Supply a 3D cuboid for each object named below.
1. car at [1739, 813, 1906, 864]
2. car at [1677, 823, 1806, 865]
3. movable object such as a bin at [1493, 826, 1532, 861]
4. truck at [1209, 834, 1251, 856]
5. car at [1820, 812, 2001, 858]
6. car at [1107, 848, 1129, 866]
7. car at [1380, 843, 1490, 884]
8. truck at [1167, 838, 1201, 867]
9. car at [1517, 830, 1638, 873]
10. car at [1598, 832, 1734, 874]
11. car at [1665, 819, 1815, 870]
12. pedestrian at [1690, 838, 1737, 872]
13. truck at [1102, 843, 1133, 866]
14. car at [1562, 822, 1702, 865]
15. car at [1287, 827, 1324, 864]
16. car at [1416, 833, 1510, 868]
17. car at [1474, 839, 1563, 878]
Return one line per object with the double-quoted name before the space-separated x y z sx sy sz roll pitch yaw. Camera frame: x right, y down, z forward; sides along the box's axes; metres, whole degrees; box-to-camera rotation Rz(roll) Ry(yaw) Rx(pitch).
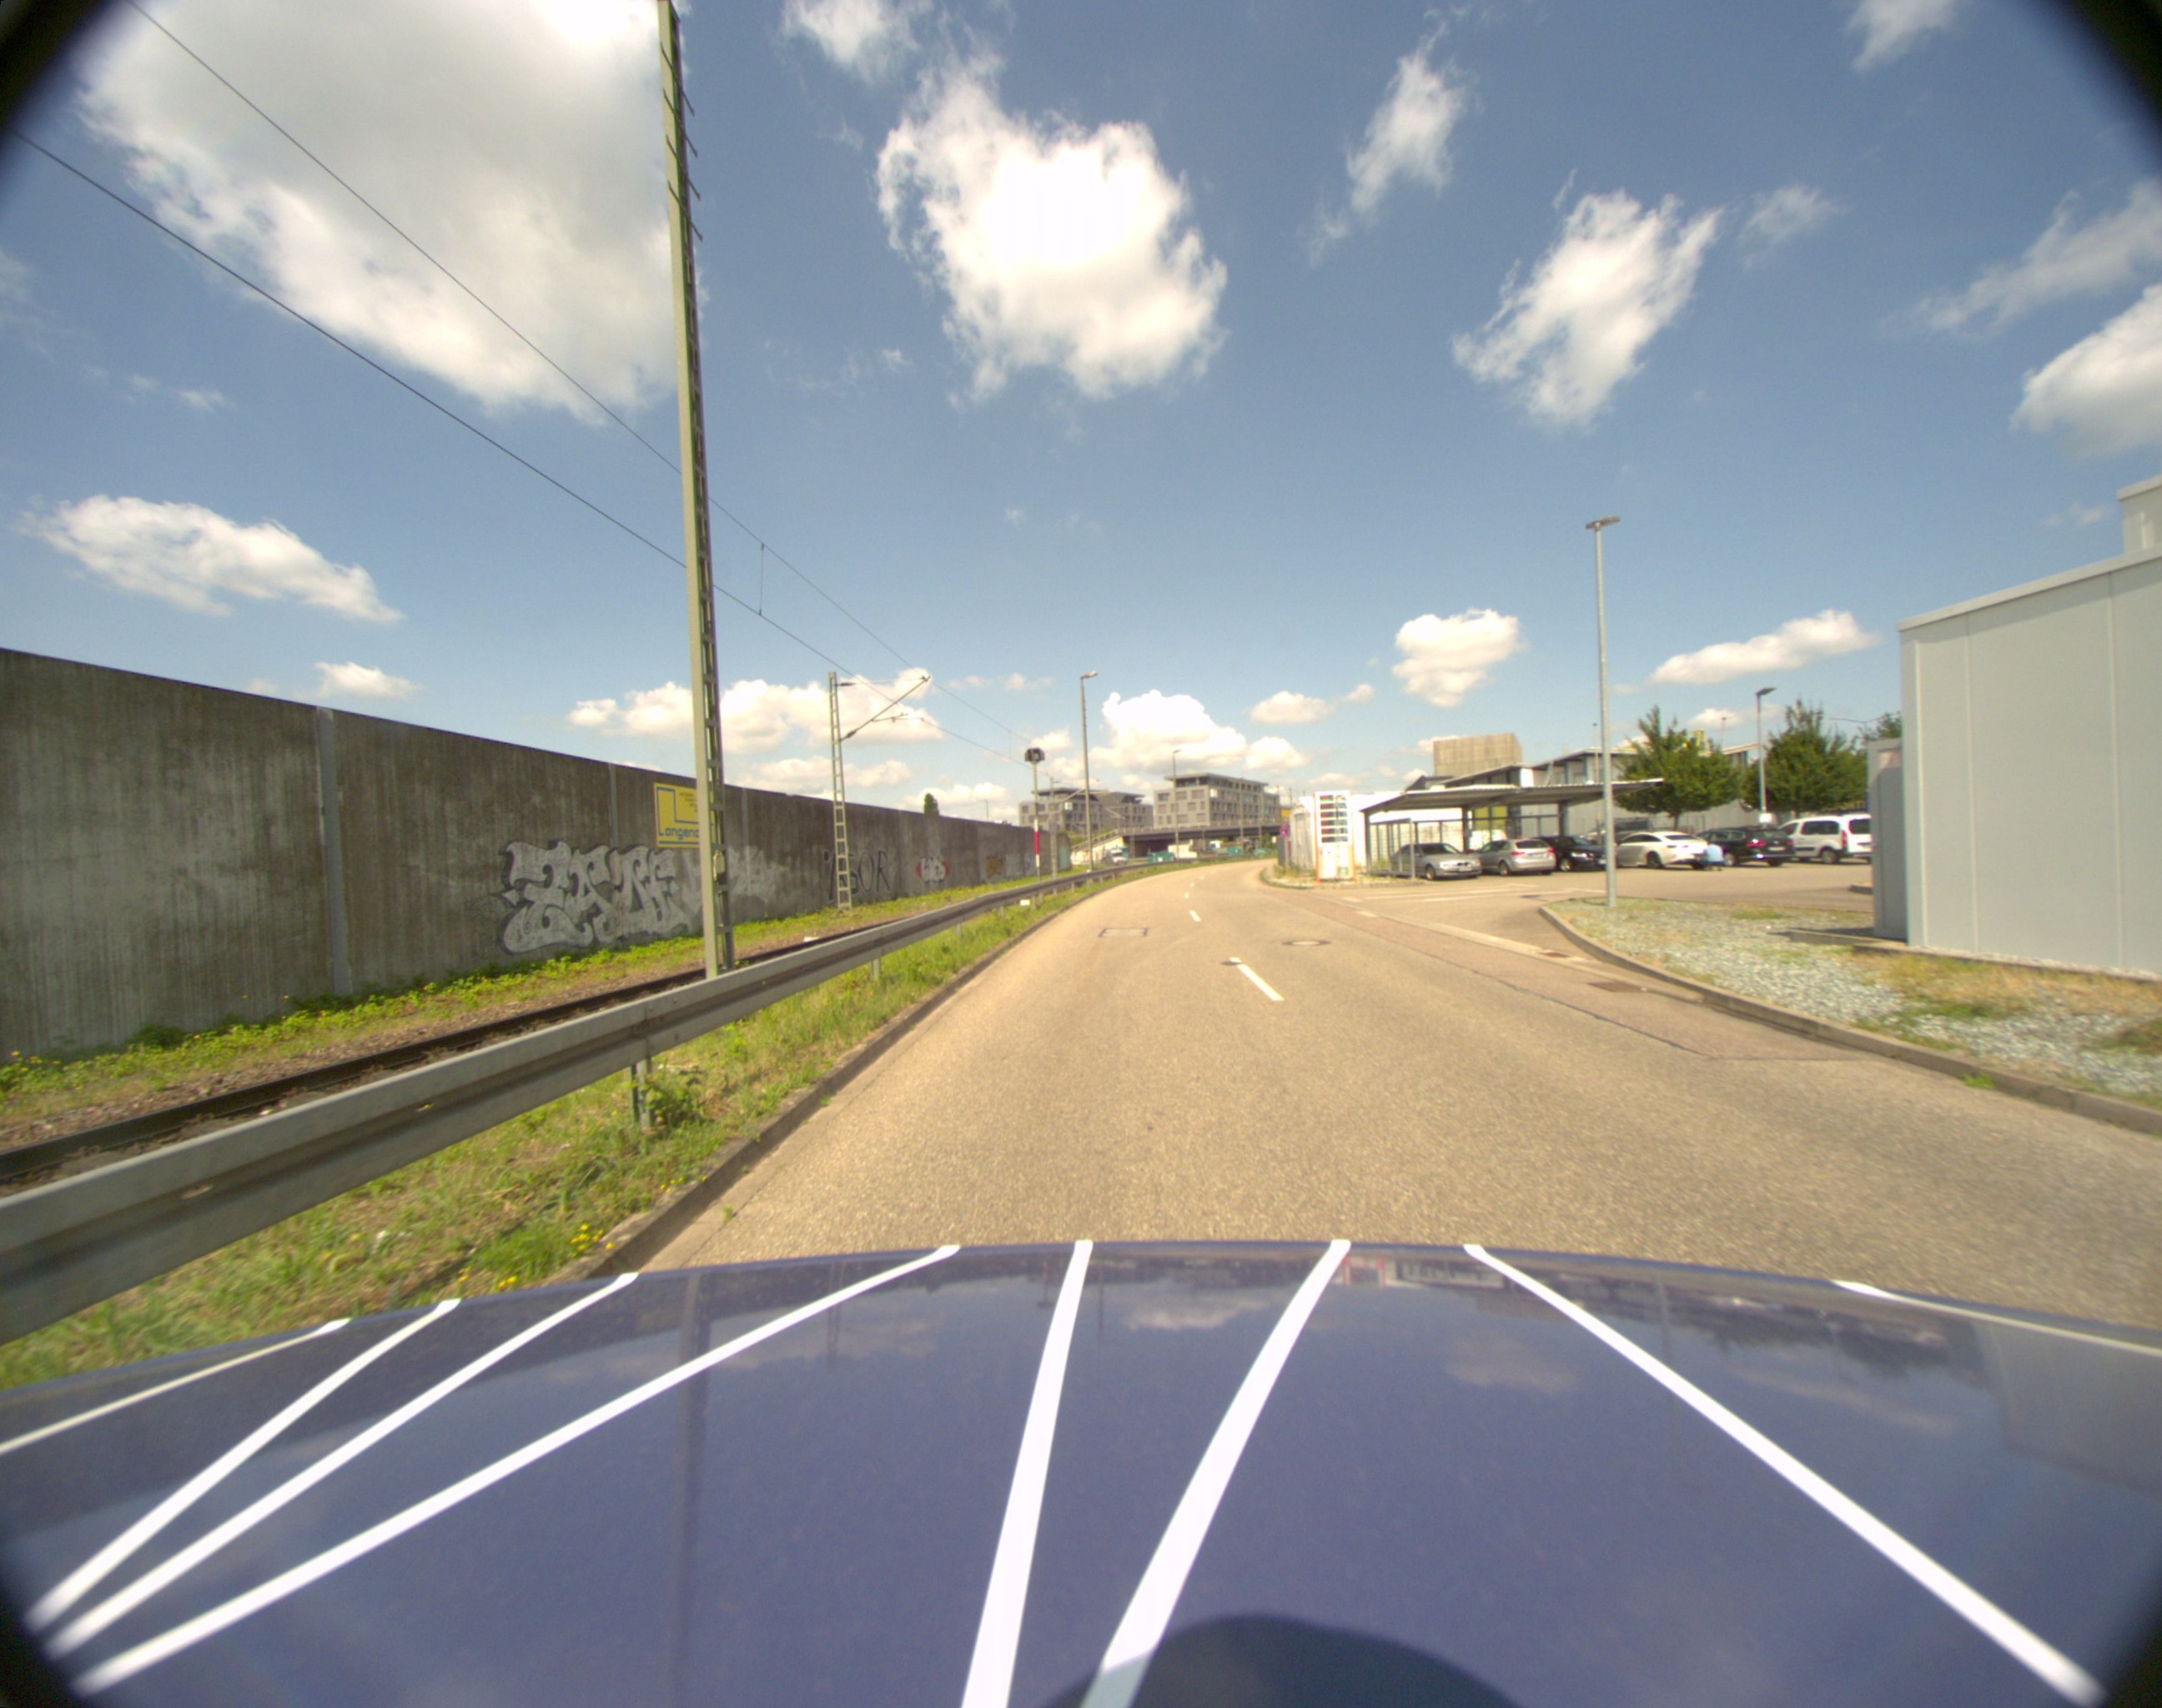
"car" 28.441 -0.571 29.406 1.998 1.768 4.597 -2 1 1
"car" 34.266 -0.508 39.527 4.850 2.002 2.000 -2 1 3
"movable object such as a bin" 27.802 -0.699 48.943 1.633 2.092 2.380 -4 -1 40
"truck" 21.625 -1.302 110.362 5.499 3.080 2.004 -1 1 32
"car" 31.750 -0.692 29.319 1.998 1.543 4.597 -2 1 1
"car" 5.516 0.488 114.057 2.066 2.512 5.878 -4 1 -8
"car" 13.841 0.335 30.048 1.922 1.369 4.790 -3 1 -2
"truck" 13.099 -0.202 97.311 2.993 3.399 8.112 -2 1 -1
"car" 19.343 -0.076 29.860 1.998 1.488 4.252 -2 0 1
"car" 22.086 -0.045 28.921 1.894 1.429 4.316 -2 1 1
"car" 25.268 -0.377 29.402 1.998 1.757 4.598 -2 1 3
"pedestrian" 21.975 0.029 26.424 0.810 1.119 0.998 -2 1 0
"truck" 5.989 0.085 125.435 2.657 3.625 6.878 -4 1 -17
"car" 28.636 -0.561 39.618 5.695 2.002 2.000 -2 1 3
"car" 16.469 -0.606 55.988 2.122 2.522 6.723 -2 0 13
"car" 21.822 -0.186 43.442 4.403 1.822 2.004 -1 1 41
"car" 16.567 0.152 28.933 1.598 1.337 3.055 -3 1 1
